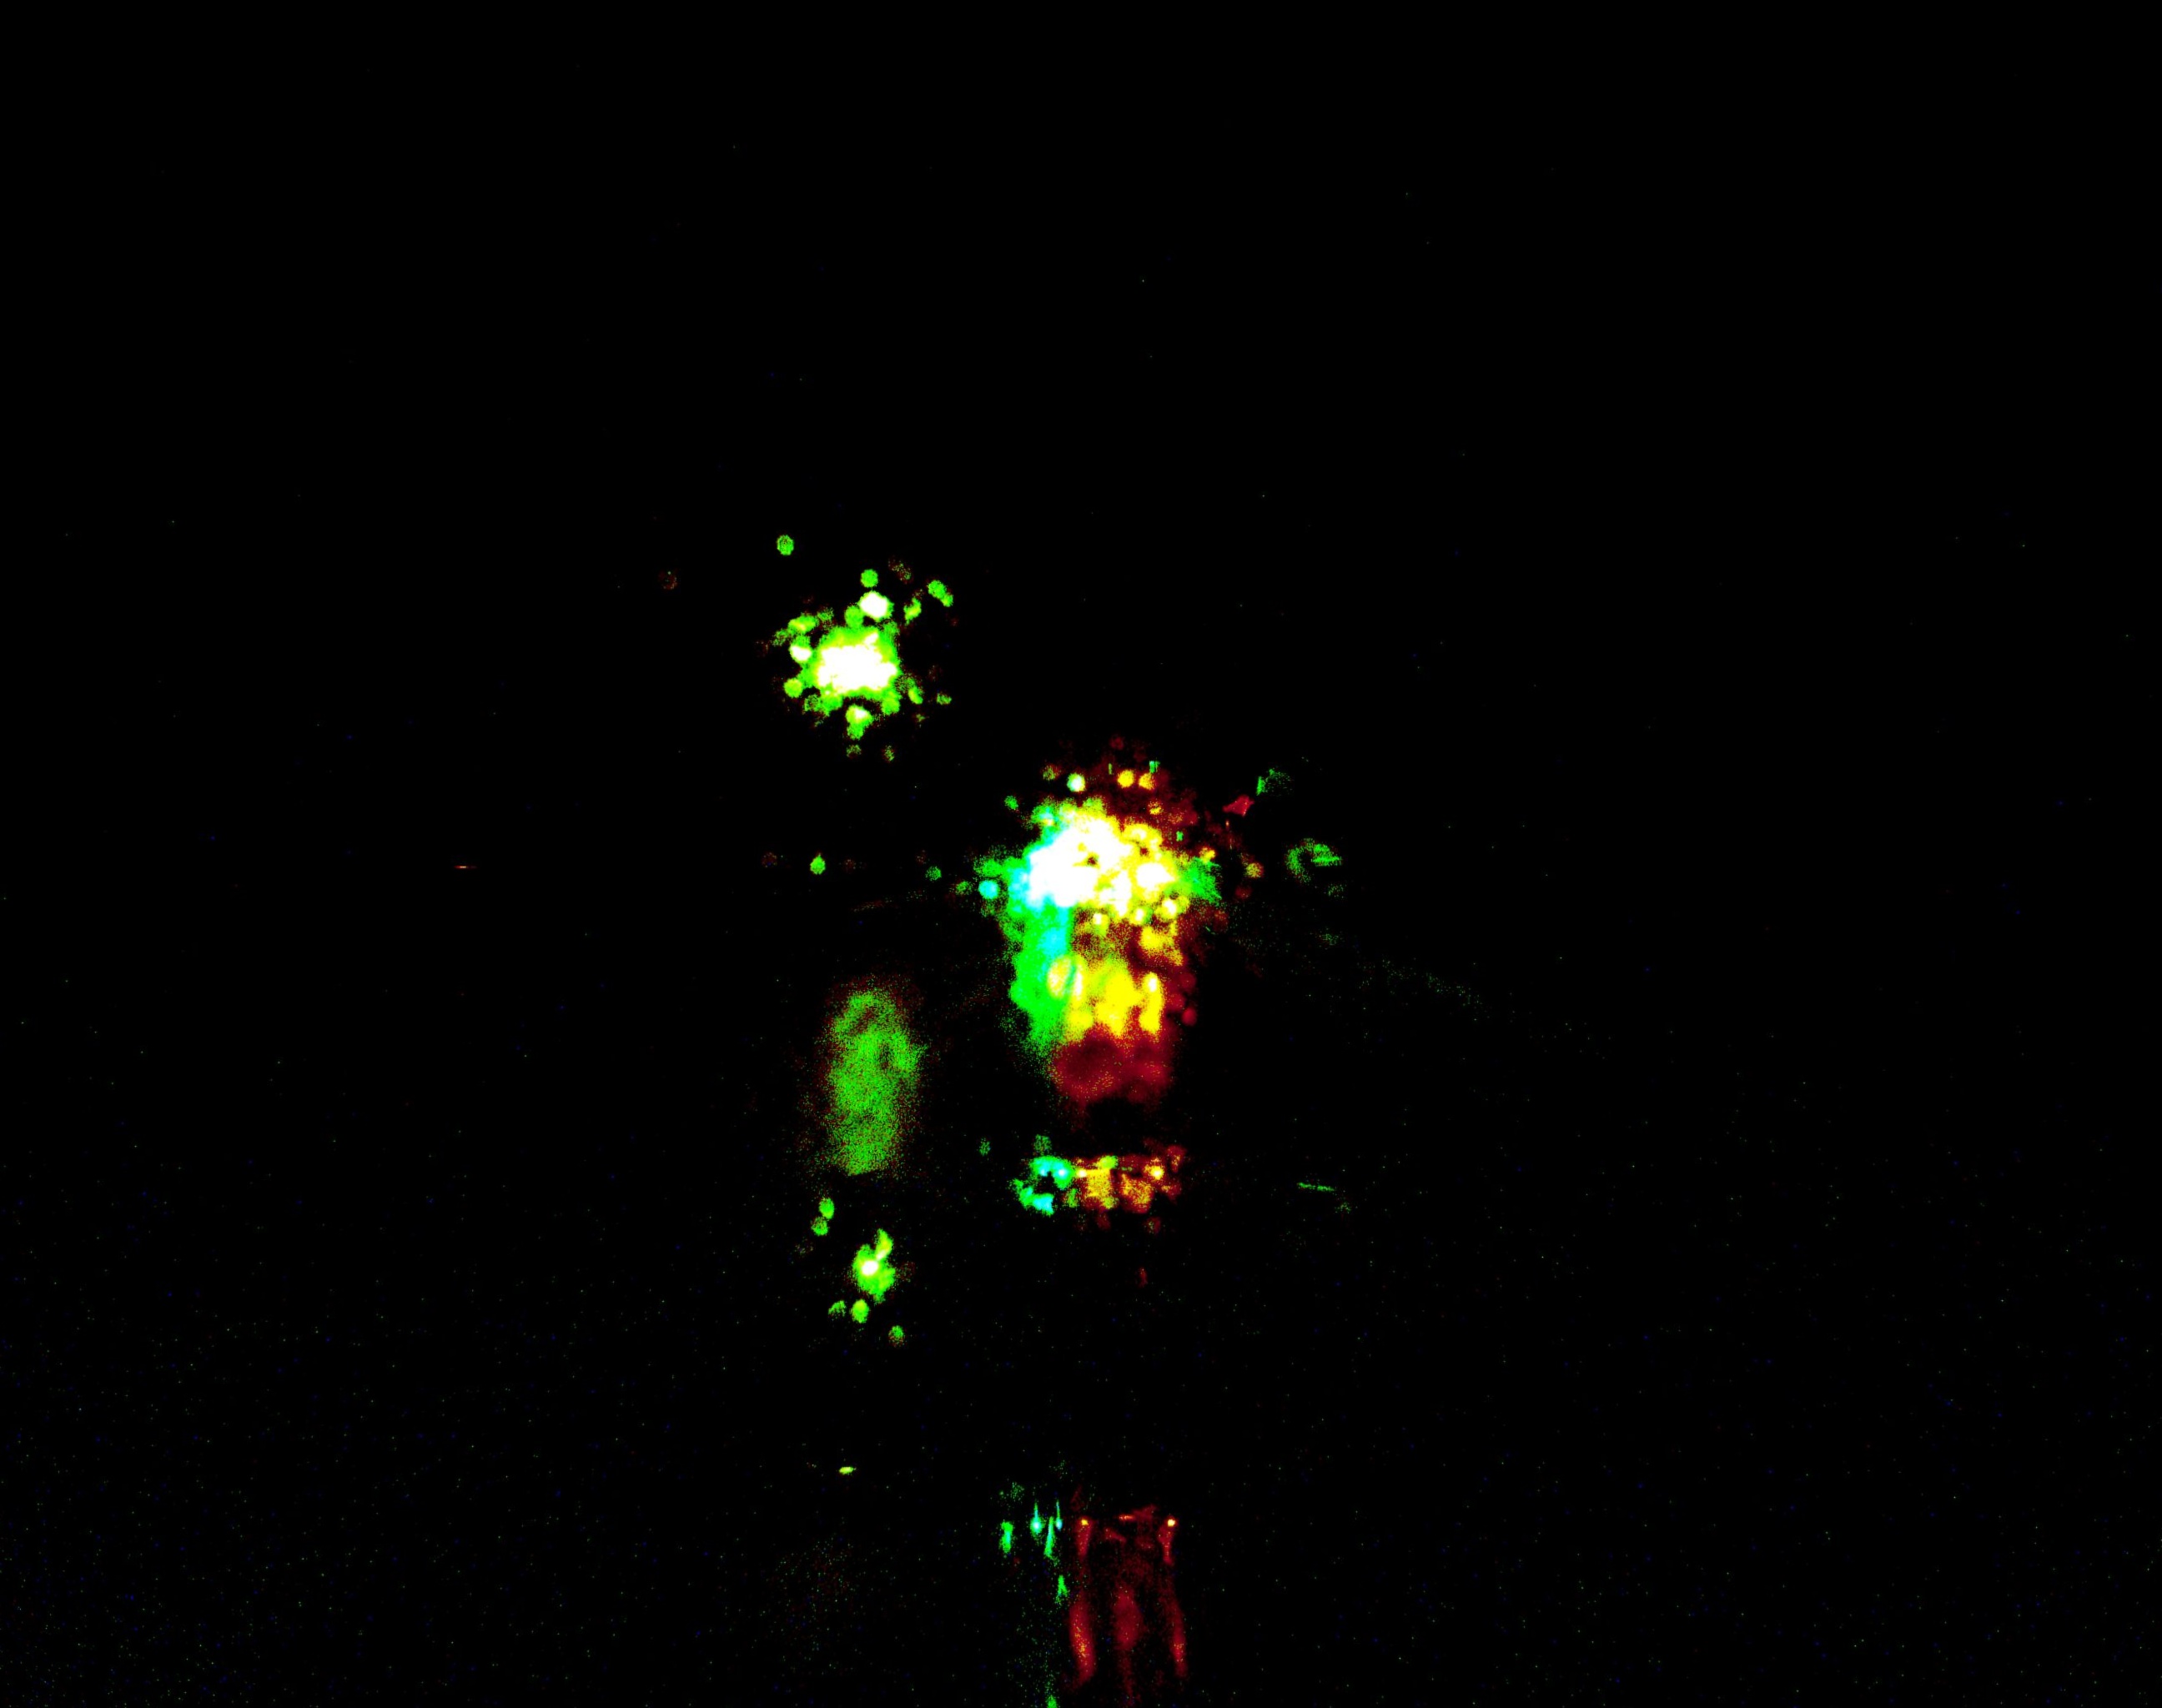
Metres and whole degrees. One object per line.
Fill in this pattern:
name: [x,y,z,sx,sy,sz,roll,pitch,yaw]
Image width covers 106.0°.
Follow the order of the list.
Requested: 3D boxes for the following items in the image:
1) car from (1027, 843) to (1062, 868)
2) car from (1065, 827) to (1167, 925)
car: [-2.479,0.087,56.128,1.866,1.545,4.359,-5,0,3]
car: [0.757,0.384,16.703,1.783,1.681,3.908,-3,0,4]
